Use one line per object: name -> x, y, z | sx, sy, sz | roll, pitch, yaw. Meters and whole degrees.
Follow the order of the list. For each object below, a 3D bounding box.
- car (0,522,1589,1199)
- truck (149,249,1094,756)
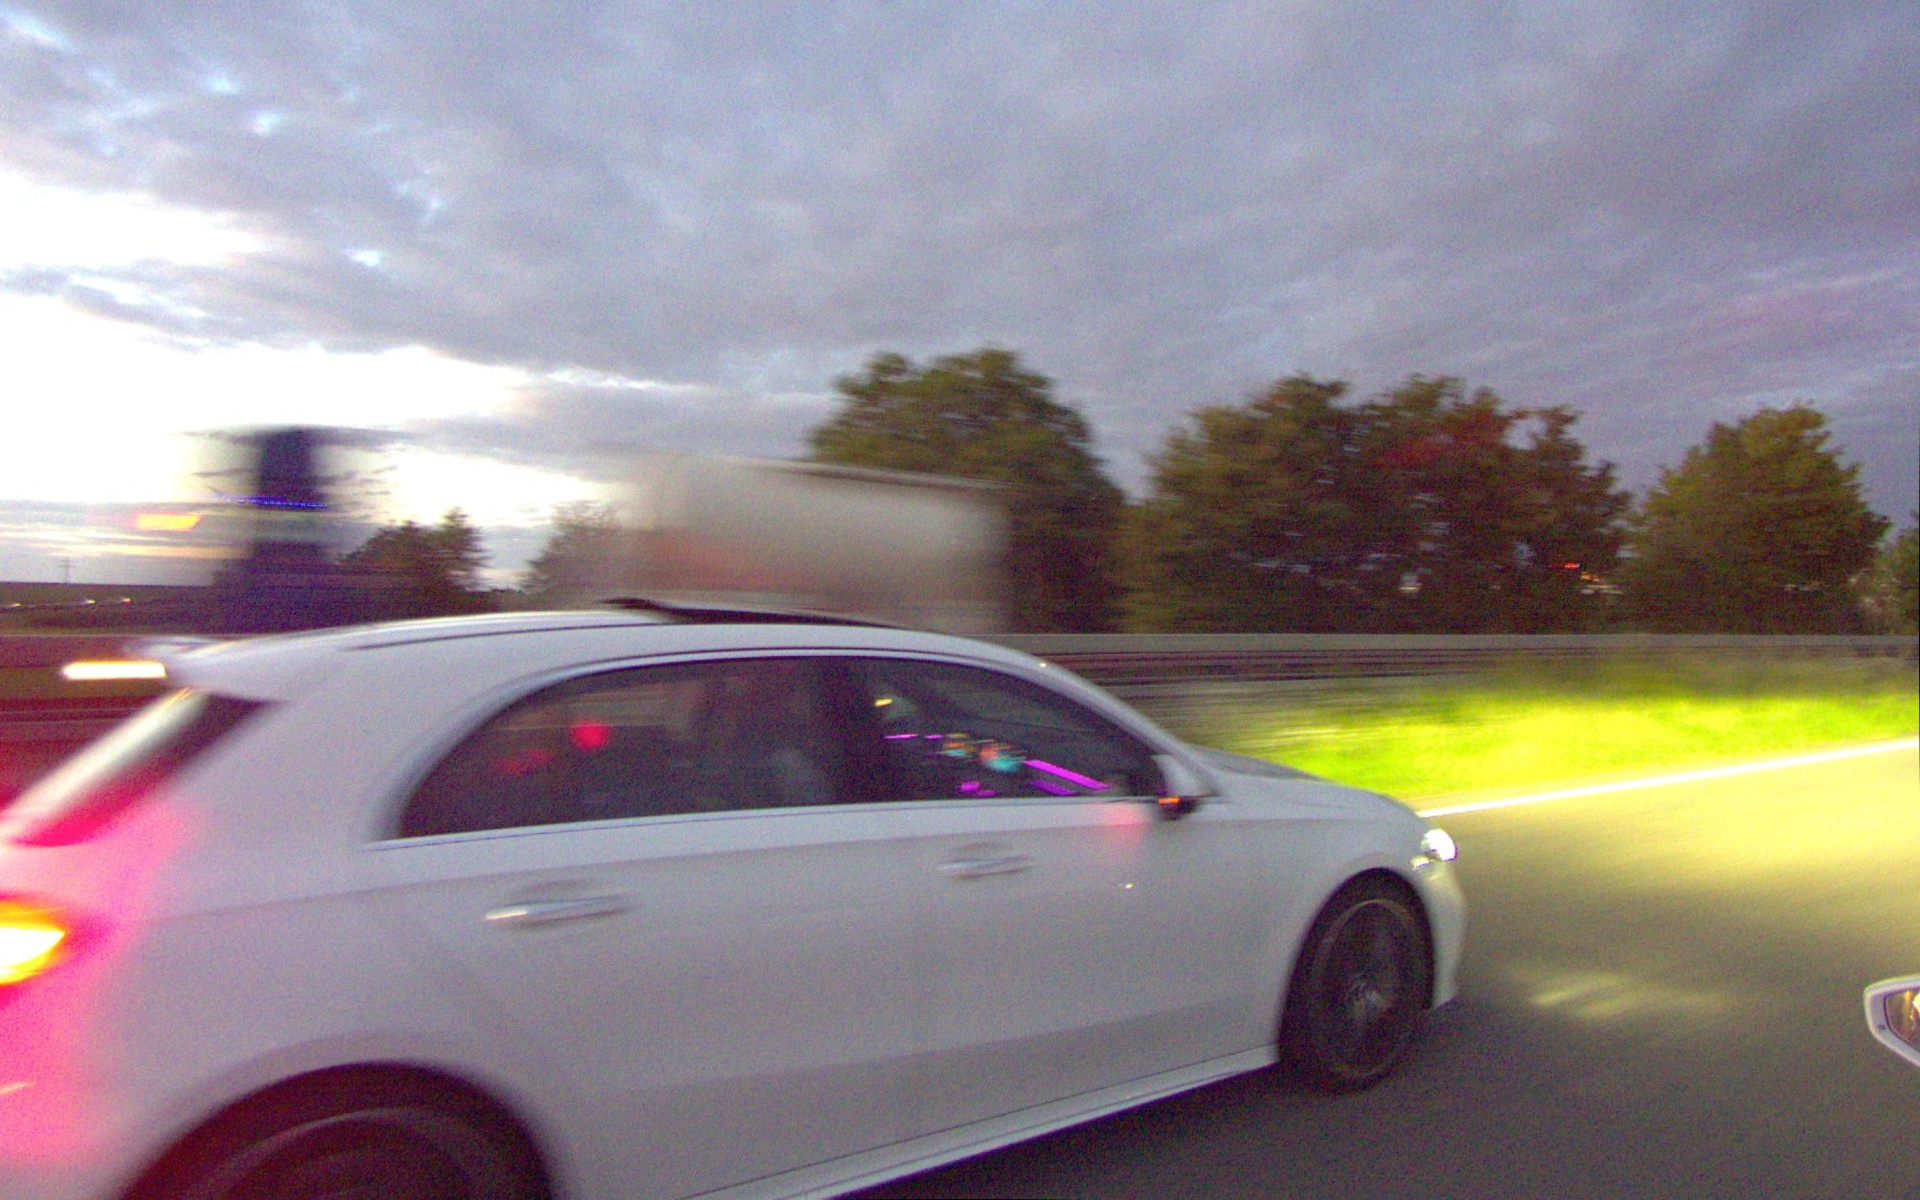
car -> -0.119, 0.688, 3.111 | 4.527, 1.510, 1.633 | 2, 0, -31
truck -> -3.908, -0.858, 15.146 | 12.464, 5.325, 3.186 | 2, -1, -31
